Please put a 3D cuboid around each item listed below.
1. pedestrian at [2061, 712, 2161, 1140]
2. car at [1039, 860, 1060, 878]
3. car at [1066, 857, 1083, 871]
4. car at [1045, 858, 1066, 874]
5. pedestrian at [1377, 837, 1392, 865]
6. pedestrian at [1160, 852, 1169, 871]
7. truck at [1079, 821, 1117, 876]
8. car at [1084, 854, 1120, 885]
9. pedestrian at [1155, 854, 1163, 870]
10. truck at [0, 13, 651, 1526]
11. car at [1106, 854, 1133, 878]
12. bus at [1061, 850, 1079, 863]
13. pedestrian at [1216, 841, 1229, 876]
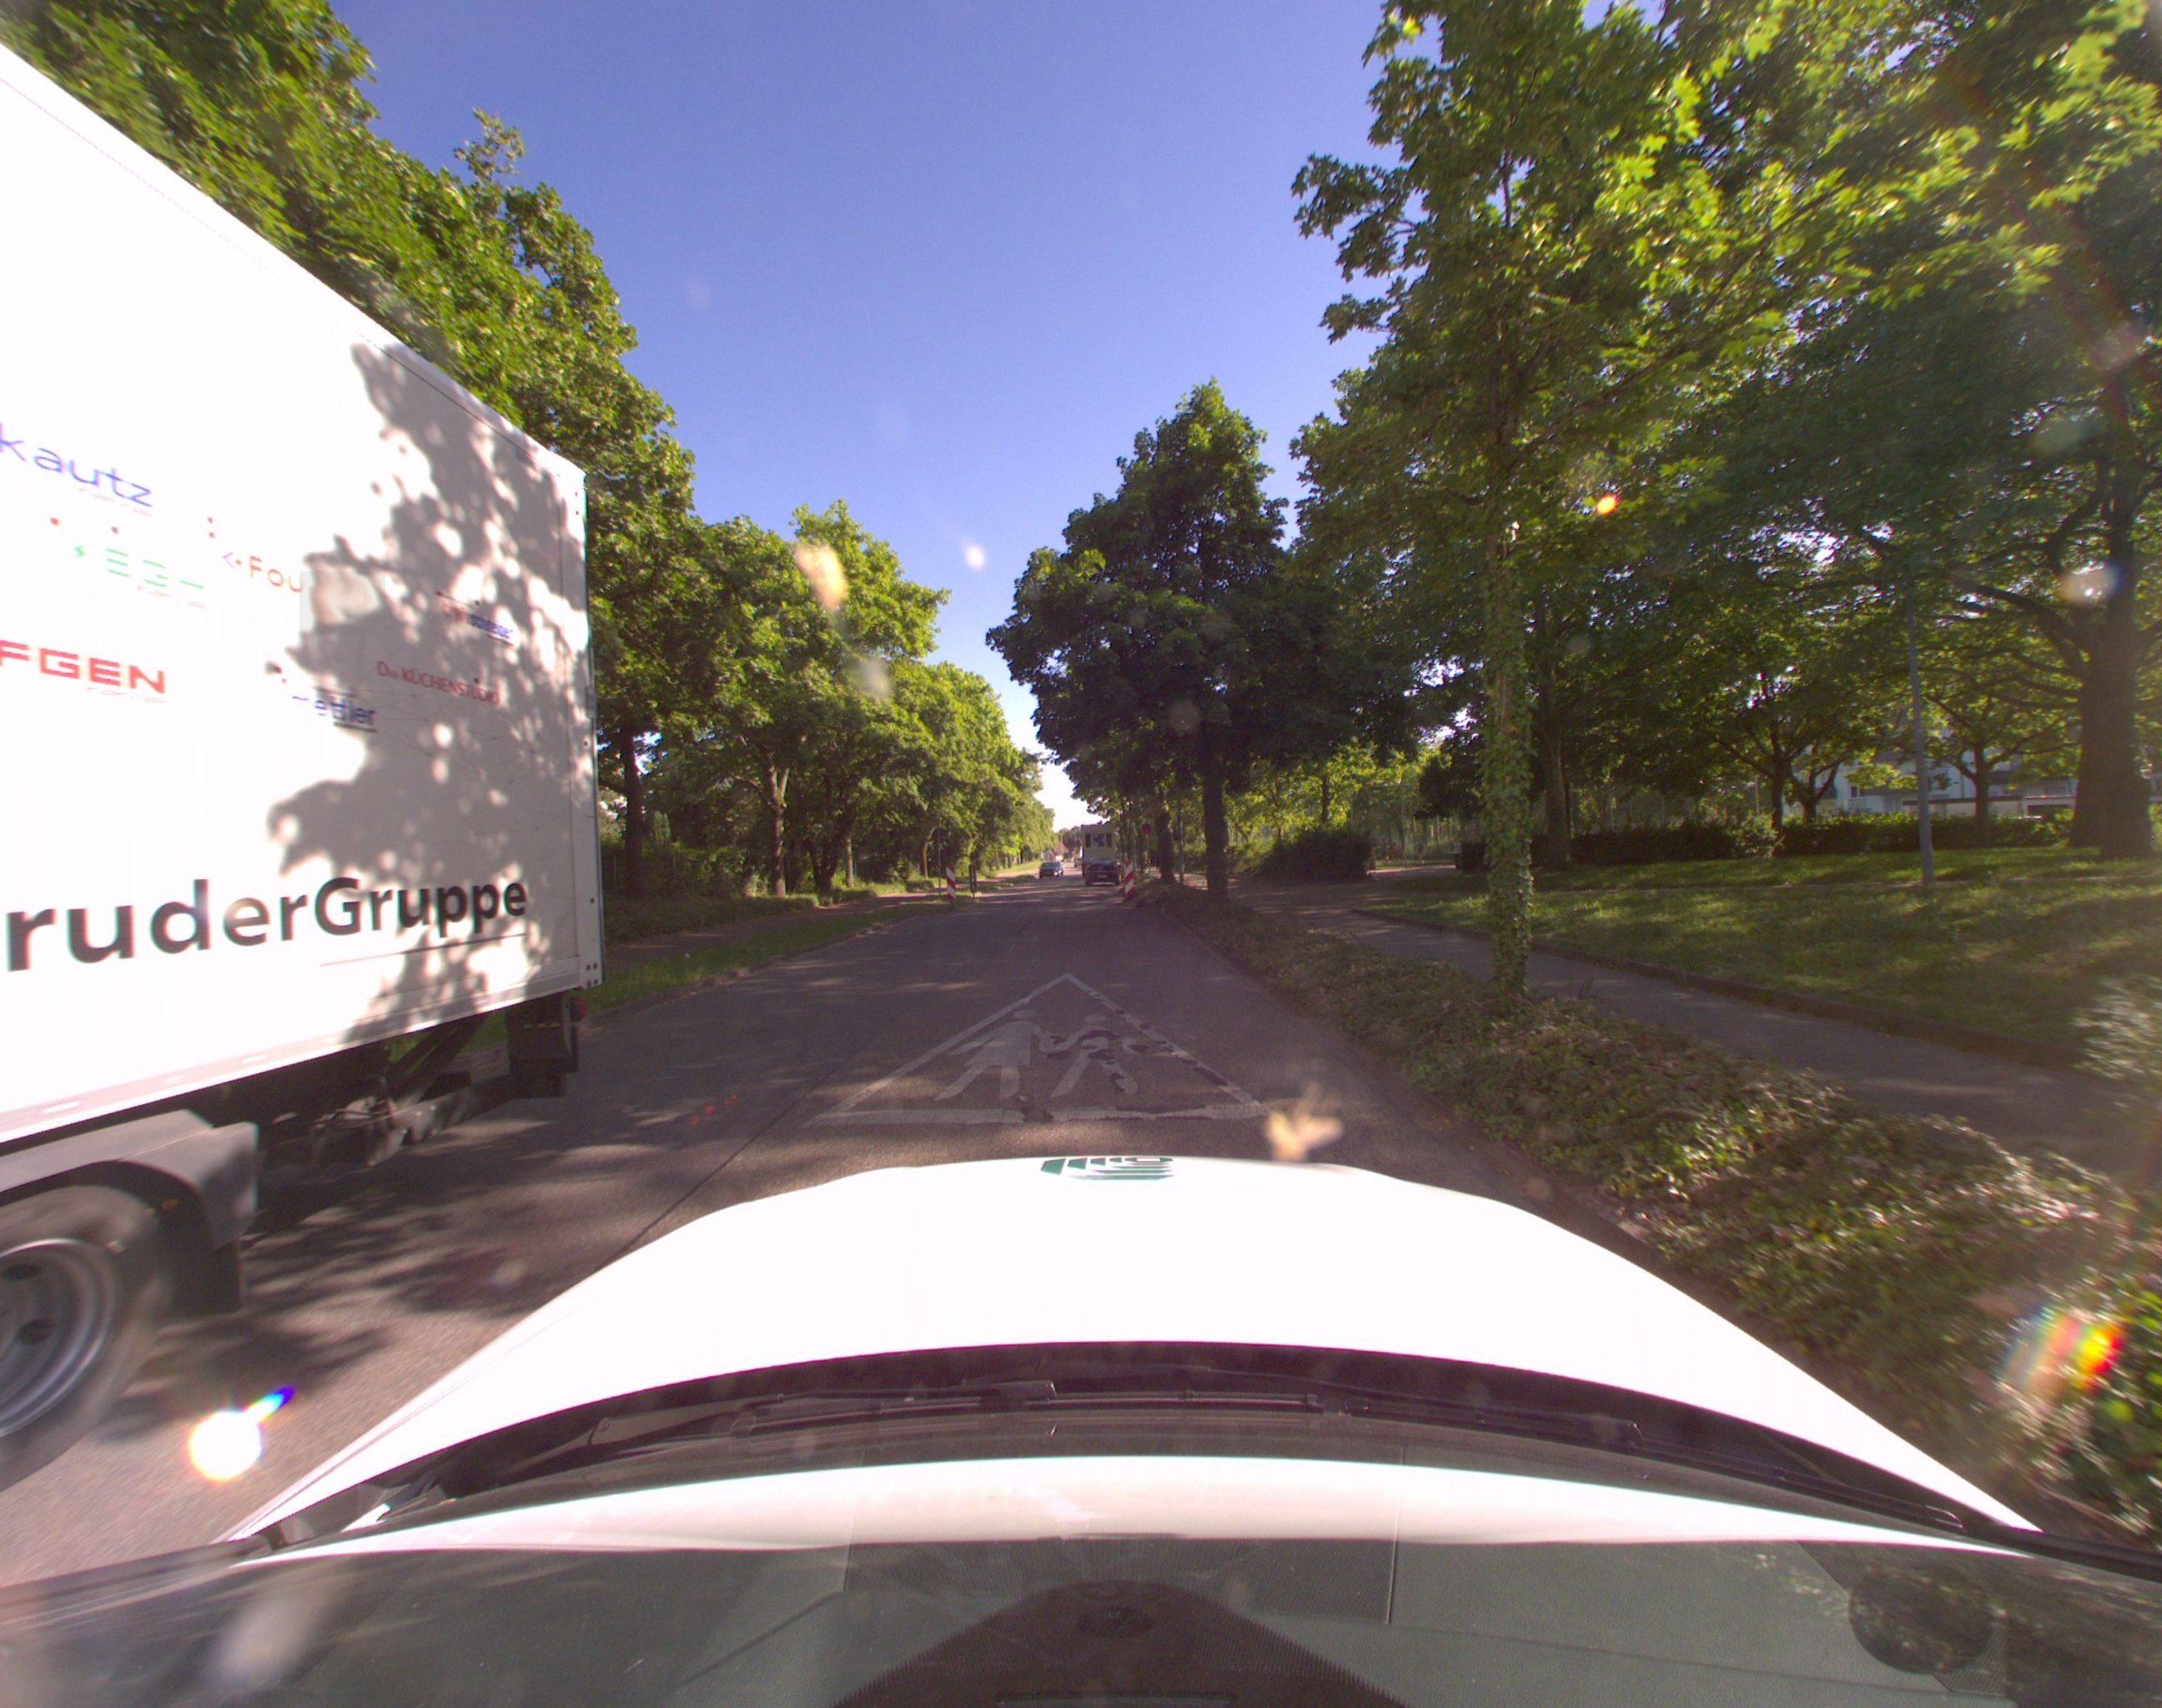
[{"bbox_3d":[5.005,0.300,3.471,0.788,1.832,0.671,-2,0,0],"label":"pedestrian"},{"bbox_3d":[-2.777,1.318,71.835,1.595,1.426,3.652,-3,0,1],"label":"car"},{"bbox_3d":[-0.998,1.472,125.269,1.983,2.013,4.007,-3,0,6],"label":"car"},{"bbox_3d":[-2.560,1.151,82.352,1.749,1.454,4.245,-3,0,2],"label":"car"},{"bbox_3d":[17.414,-0.172,46.765,0.691,1.611,0.704,-1,-1,31],"label":"pedestrian"},{"bbox_3d":[8.522,0.757,83.224,0.696,1.812,0.699,-3,0,-3],"label":"pedestrian"},{"bbox_3d":[1.274,-0.363,64.755,2.764,3.996,10.346,-1,0,0],"label":"truck"},{"bbox_3d":[1.124,0.803,42.563,1.741,1.480,4.033,-1,-1,2],"label":"car"},{"bbox_3d":[7.994,0.814,83.621,0.597,1.611,0.599,-3,0,-3],"label":"pedestrian"},{"bbox_3d":[-3.959,-0.202,0.746,2.725,3.641,8.099,-2,0,0],"label":"truck"},{"bbox_3d":[2.615,0.779,55.100,1.633,1.420,4.003,-4,0,3],"label":"car"},{"bbox_3d":[-2.944,0.653,219.724,4.048,3.349,9.808,-3,0,3],"label":"bus"},{"bbox_3d":[6.608,0.228,38.047,0.568,1.608,0.673,-2,0,10],"label":"pedestrian"}]
